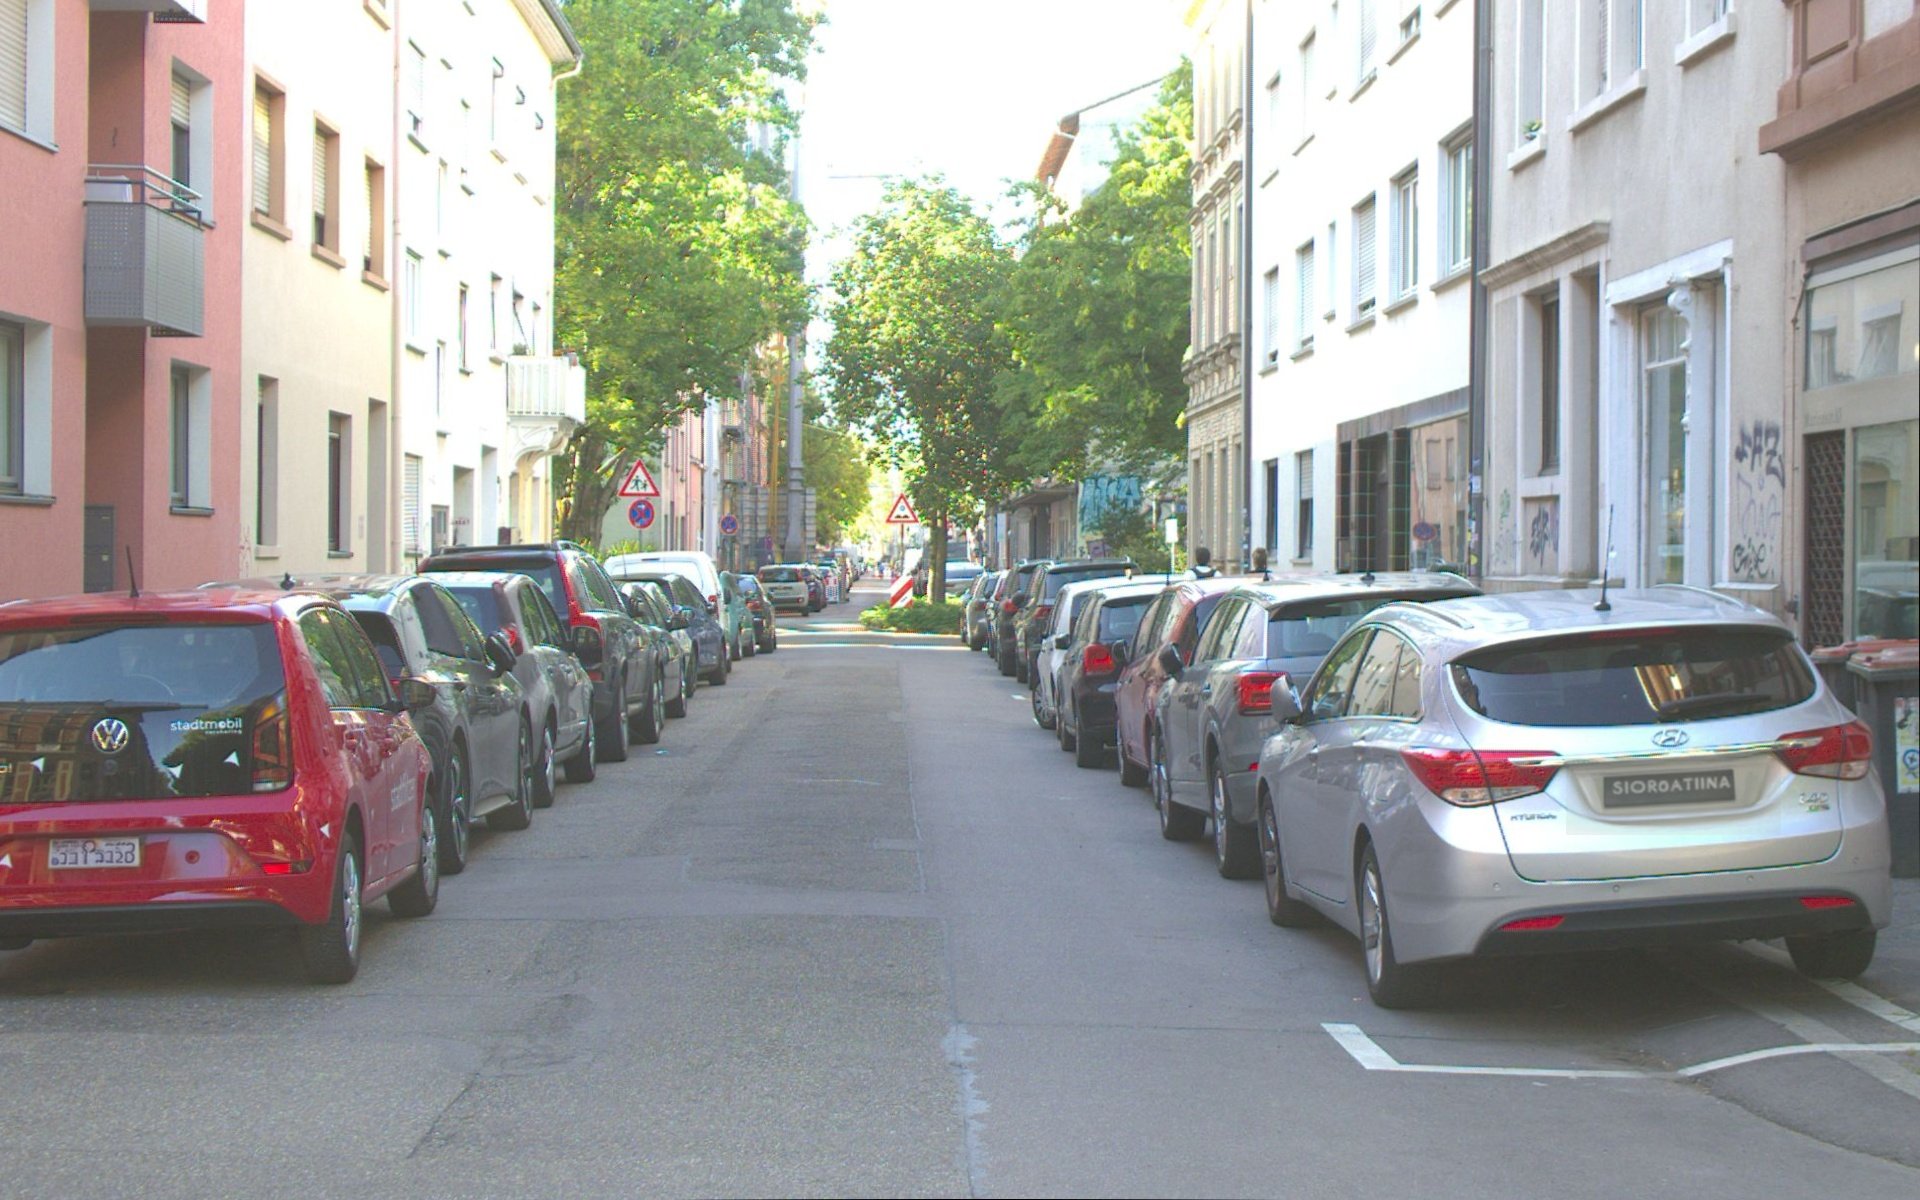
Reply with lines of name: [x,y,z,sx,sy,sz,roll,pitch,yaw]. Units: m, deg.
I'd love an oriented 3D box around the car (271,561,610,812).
car: [-3.468,0.525,23.605,1.656,1.516,3.944,-1,1,1]

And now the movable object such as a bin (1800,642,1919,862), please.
movable object such as a bin: [4.470,0.738,16.888,0.514,1.036,0.594,-1,1,0]

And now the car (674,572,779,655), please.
car: [-4.134,0.217,61.359,1.670,1.356,4.049,-2,1,-1]

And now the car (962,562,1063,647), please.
car: [0.961,0.056,64.868,1.675,1.482,4.095,-2,1,-2]

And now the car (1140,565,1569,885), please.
car: [2.042,0.591,18.880,1.744,1.501,4.021,-2,1,-2]

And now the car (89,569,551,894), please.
car: [-3.373,0.627,18.863,1.695,1.516,4.096,-1,1,1]

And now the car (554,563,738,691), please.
car: [-3.943,0.306,43.731,1.673,1.481,3.991,-1,1,4]

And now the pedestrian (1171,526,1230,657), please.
pedestrian: [3.077,-0.113,43.994,0.685,1.654,0.717,0,1,-1]

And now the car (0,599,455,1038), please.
car: [-3.111,0.785,14.055,1.628,1.476,3.601,-2,1,-2]

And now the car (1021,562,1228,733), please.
car: [1.551,0.416,33.578,1.675,1.501,3.938,-2,1,-2]

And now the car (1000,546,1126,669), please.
car: [1.468,0.100,50.303,1.676,1.676,4.094,-2,0,0]

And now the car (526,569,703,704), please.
car: [-3.899,0.378,39.338,1.673,1.383,4.182,-2,1,-1]

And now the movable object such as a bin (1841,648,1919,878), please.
movable object such as a bin: [4.483,0.752,16.135,0.514,1.036,0.619,-1,1,0]

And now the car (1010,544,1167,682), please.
car: [1.647,0.140,45.342,1.676,1.621,4.251,-4,1,-2]

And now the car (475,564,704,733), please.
car: [-3.625,0.433,34.311,1.743,1.501,4.346,-1,1,1]

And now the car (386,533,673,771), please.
car: [-3.537,0.364,29.025,1.743,1.805,4.672,-1,1,1]

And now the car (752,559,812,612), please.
car: [-5.280,-0.444,102.432,1.675,1.482,4.095,-2,1,-2]

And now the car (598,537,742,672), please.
car: [-4.039,0.026,48.387,1.765,1.779,4.039,-2,1,-2]

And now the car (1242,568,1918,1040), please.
car: [2.253,0.659,13.664,1.744,1.501,4.358,-2,1,-2]

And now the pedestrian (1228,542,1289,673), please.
pedestrian: [3.816,0.090,43.958,0.685,1.654,0.717,0,1,-1]

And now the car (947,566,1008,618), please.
car: [0.513,-0.251,104.044,1.675,1.482,3.638,-2,1,-2]

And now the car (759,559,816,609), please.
car: [-5.394,-0.512,107.800,1.675,1.482,4.095,-2,1,-2]

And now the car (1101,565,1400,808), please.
car: [1.960,0.535,24.250,1.598,1.501,4.185,-2,1,-2]

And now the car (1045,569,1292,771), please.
car: [1.677,0.531,28.780,1.675,1.501,3.938,-2,1,-2]

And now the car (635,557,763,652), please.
car: [-4.306,0.046,57.136,1.670,1.464,3.820,-1,1,2]

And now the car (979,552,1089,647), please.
car: [1.260,-0.041,59.966,1.675,1.556,3.796,-2,1,-2]
